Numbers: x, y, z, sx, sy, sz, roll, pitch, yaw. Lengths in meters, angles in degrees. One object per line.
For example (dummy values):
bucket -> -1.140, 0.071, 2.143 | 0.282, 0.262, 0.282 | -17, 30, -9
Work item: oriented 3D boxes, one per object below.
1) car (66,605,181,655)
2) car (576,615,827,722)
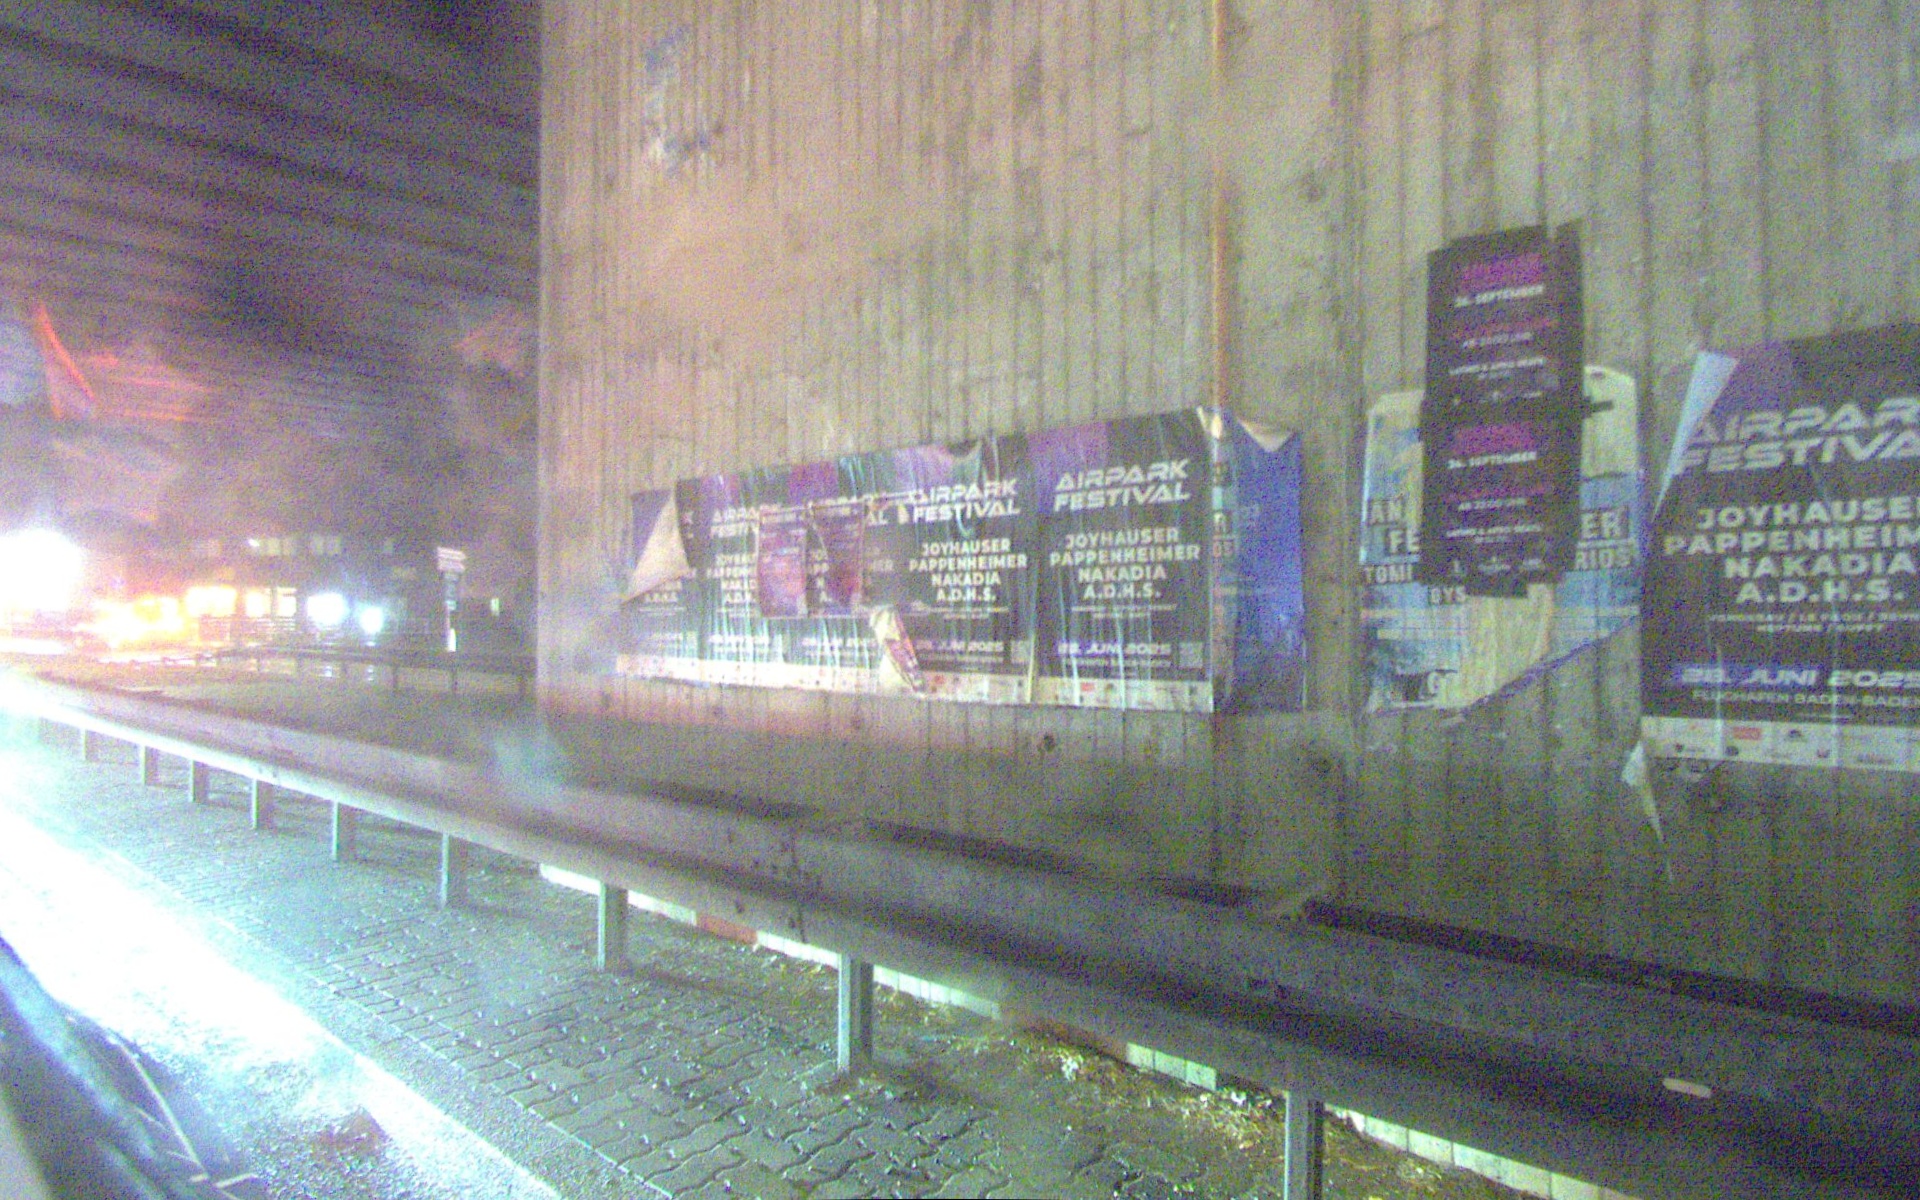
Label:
car -> -31.341, 1.090, 37.906 | 4.487, 1.763, 1.841 | -1, 0, 29
car -> -4.402, 1.129, 17.053 | 4.071, 1.600, 1.889 | -2, -4, 35
